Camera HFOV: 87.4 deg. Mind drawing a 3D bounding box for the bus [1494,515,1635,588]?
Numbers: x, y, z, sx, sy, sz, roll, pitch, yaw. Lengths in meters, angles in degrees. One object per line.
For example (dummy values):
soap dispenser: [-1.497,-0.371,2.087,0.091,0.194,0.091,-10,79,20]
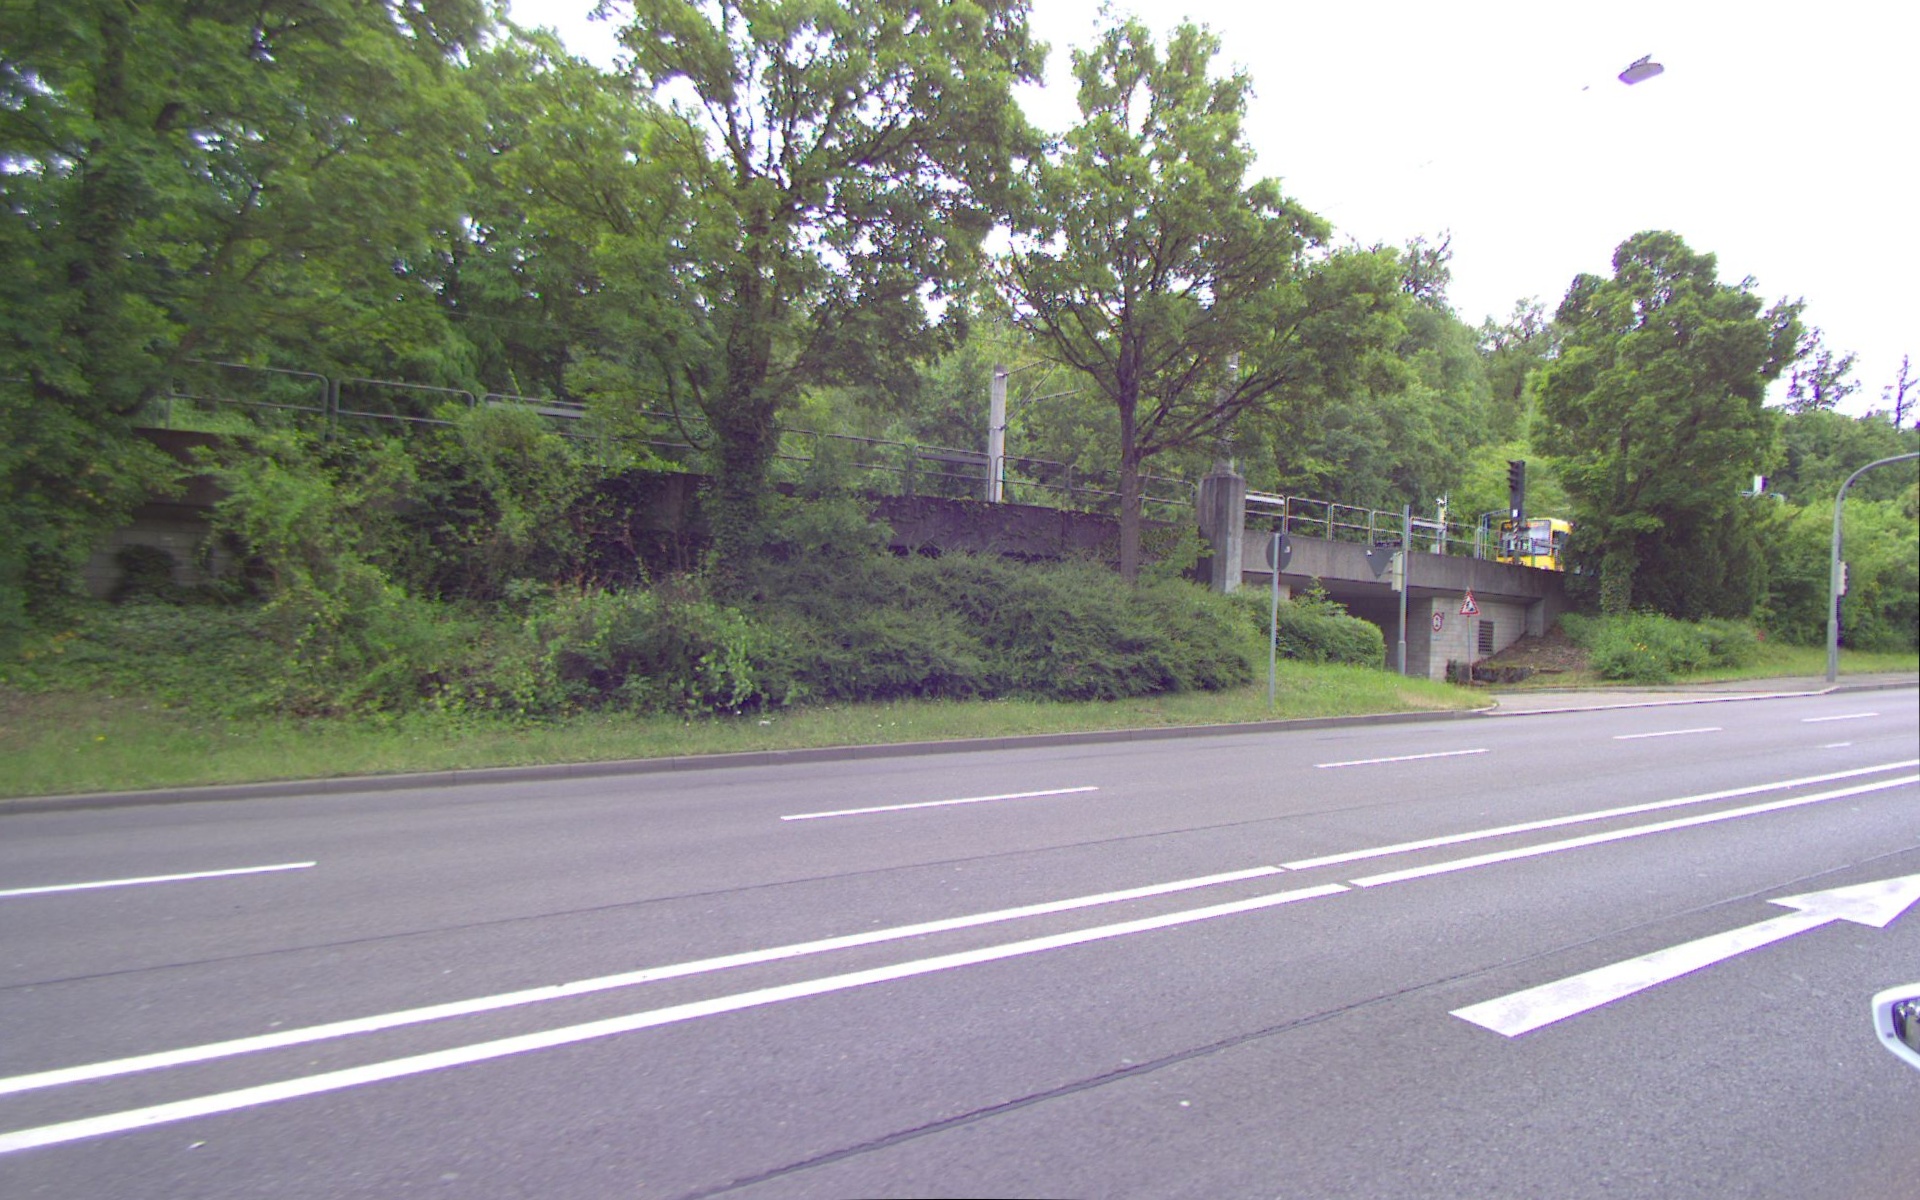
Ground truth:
bus: [29.474,-2.248,48.884,7.853,2.825,2.528,3,-3,-31]
